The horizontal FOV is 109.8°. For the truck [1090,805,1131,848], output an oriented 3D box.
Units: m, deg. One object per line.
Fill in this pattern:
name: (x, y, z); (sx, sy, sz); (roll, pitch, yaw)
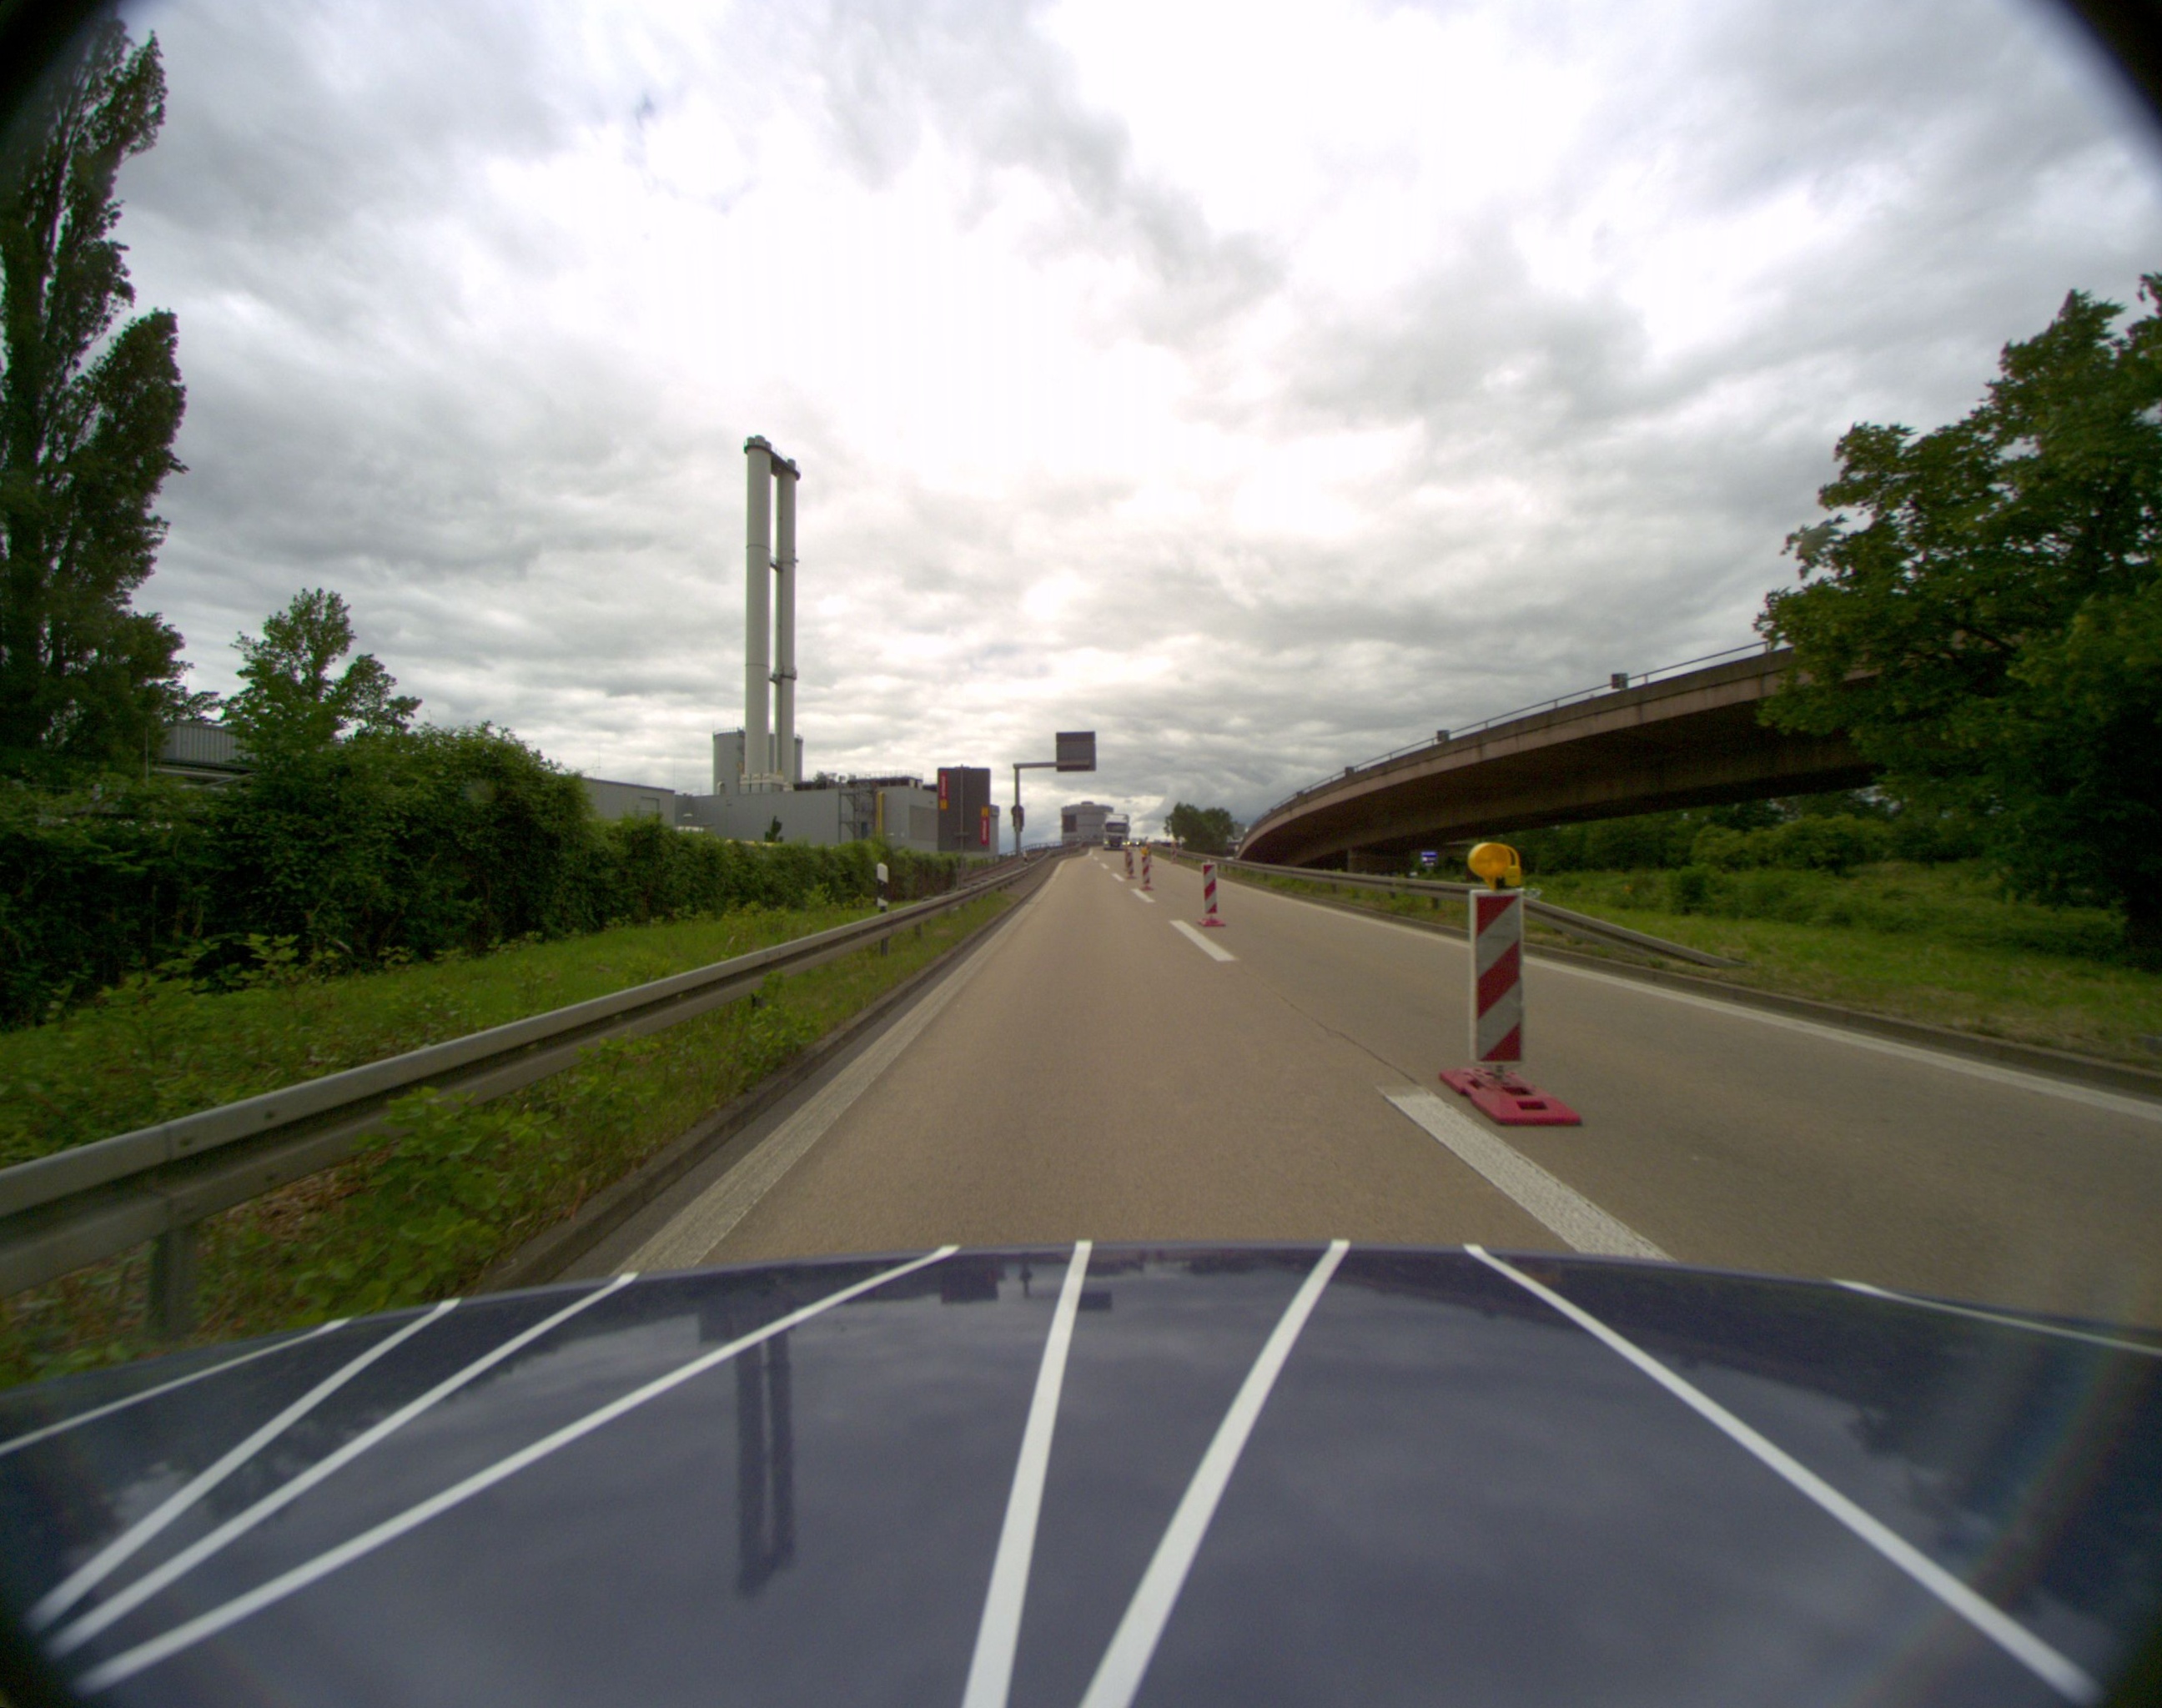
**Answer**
truck: (3.311, -2.949, 83.142); (4.163, 4.277, 5.967); (-1, -1, 4)

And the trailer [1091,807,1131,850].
trailer: (3.703, -2.779, 89.150); (4.123, 4.218, 13.898); (-1, -1, 5)
